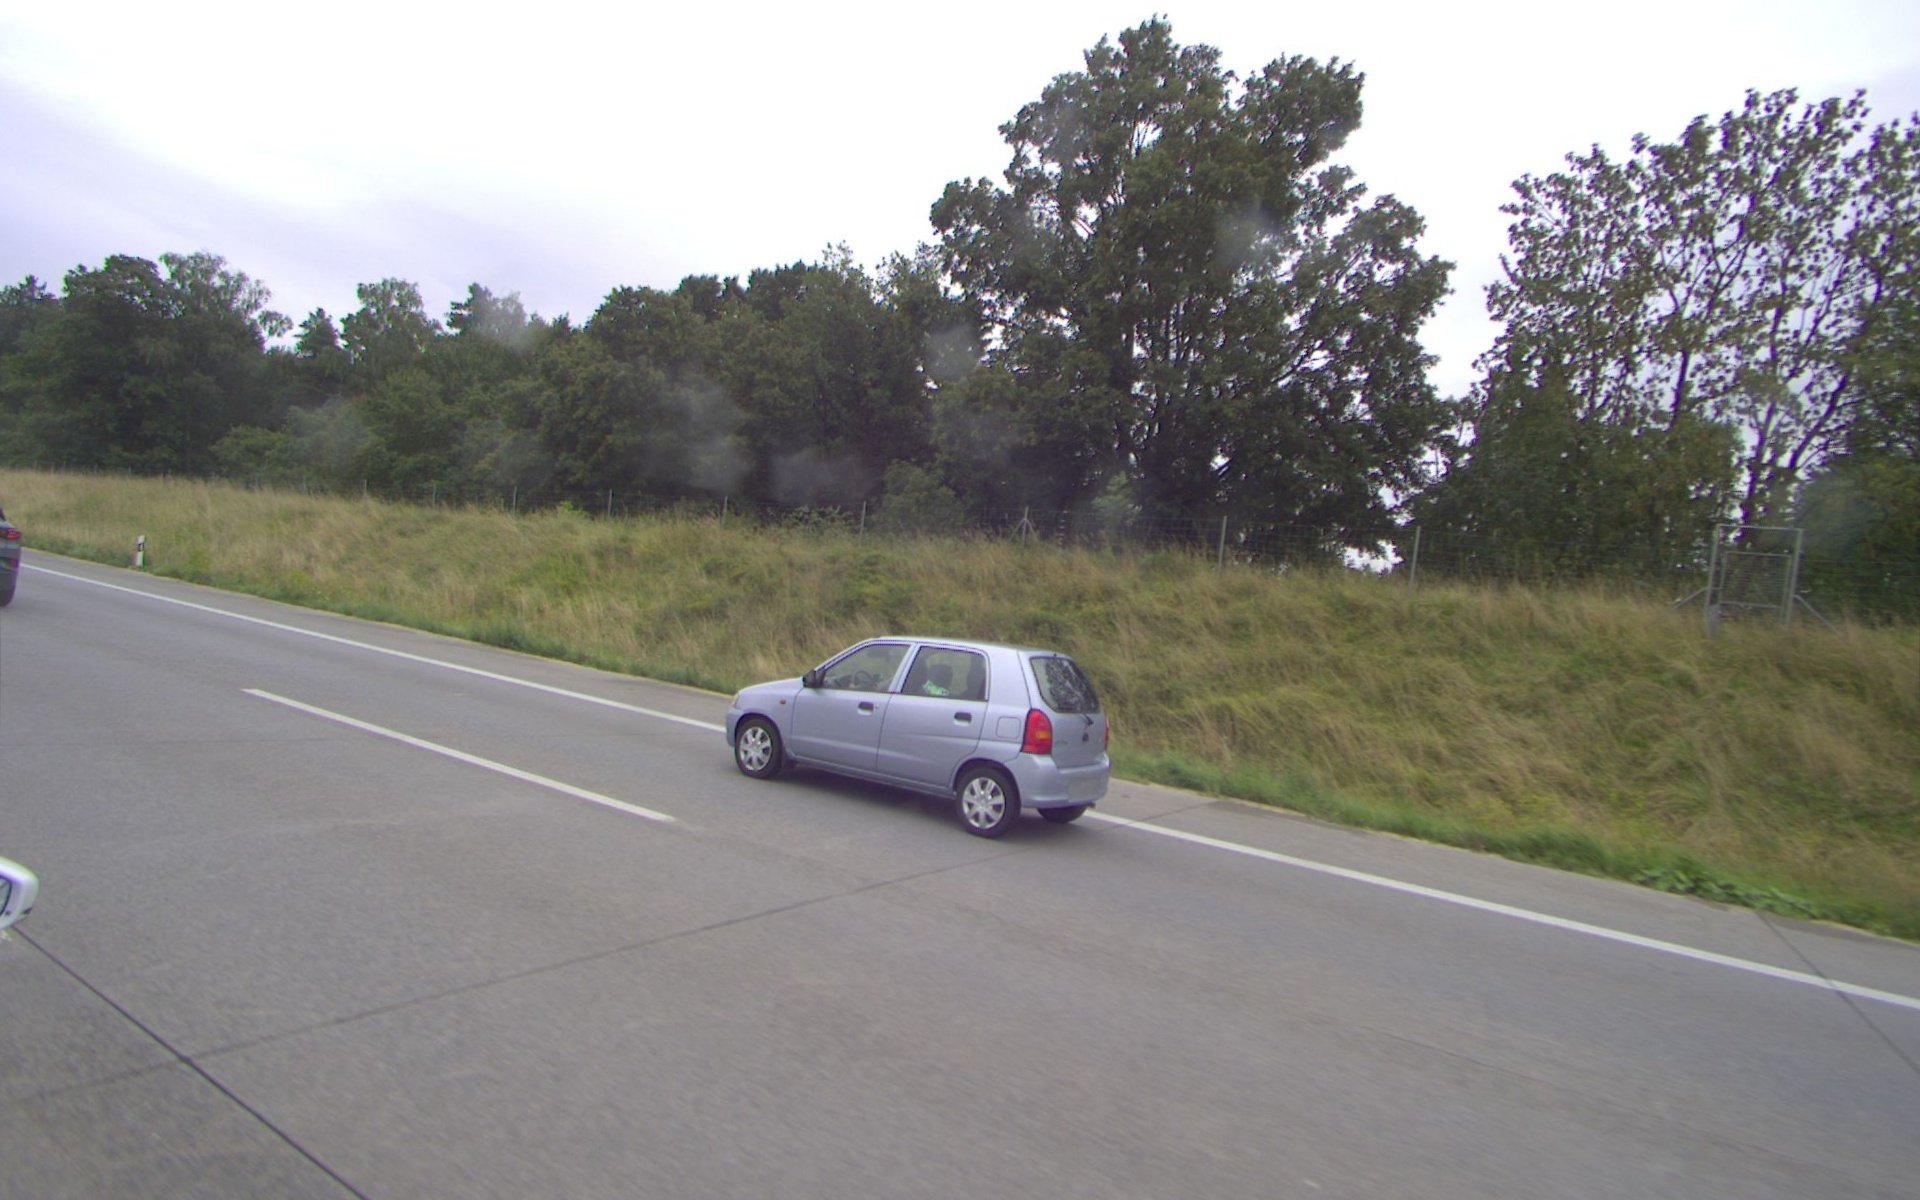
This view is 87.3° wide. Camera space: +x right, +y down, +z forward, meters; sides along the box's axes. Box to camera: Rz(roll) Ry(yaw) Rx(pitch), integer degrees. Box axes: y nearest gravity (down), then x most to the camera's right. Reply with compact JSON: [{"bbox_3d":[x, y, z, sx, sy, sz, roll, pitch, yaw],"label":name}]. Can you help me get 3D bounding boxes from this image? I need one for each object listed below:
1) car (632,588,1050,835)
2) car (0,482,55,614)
[{"bbox_3d":[-1.137,0.893,9.119,3.446,1.488,1.488,8,0,32],"label":"car"},{"bbox_3d":[-15.219,-1.050,14.458,5.180,1.709,1.901,8,-1,33],"label":"car"}]
